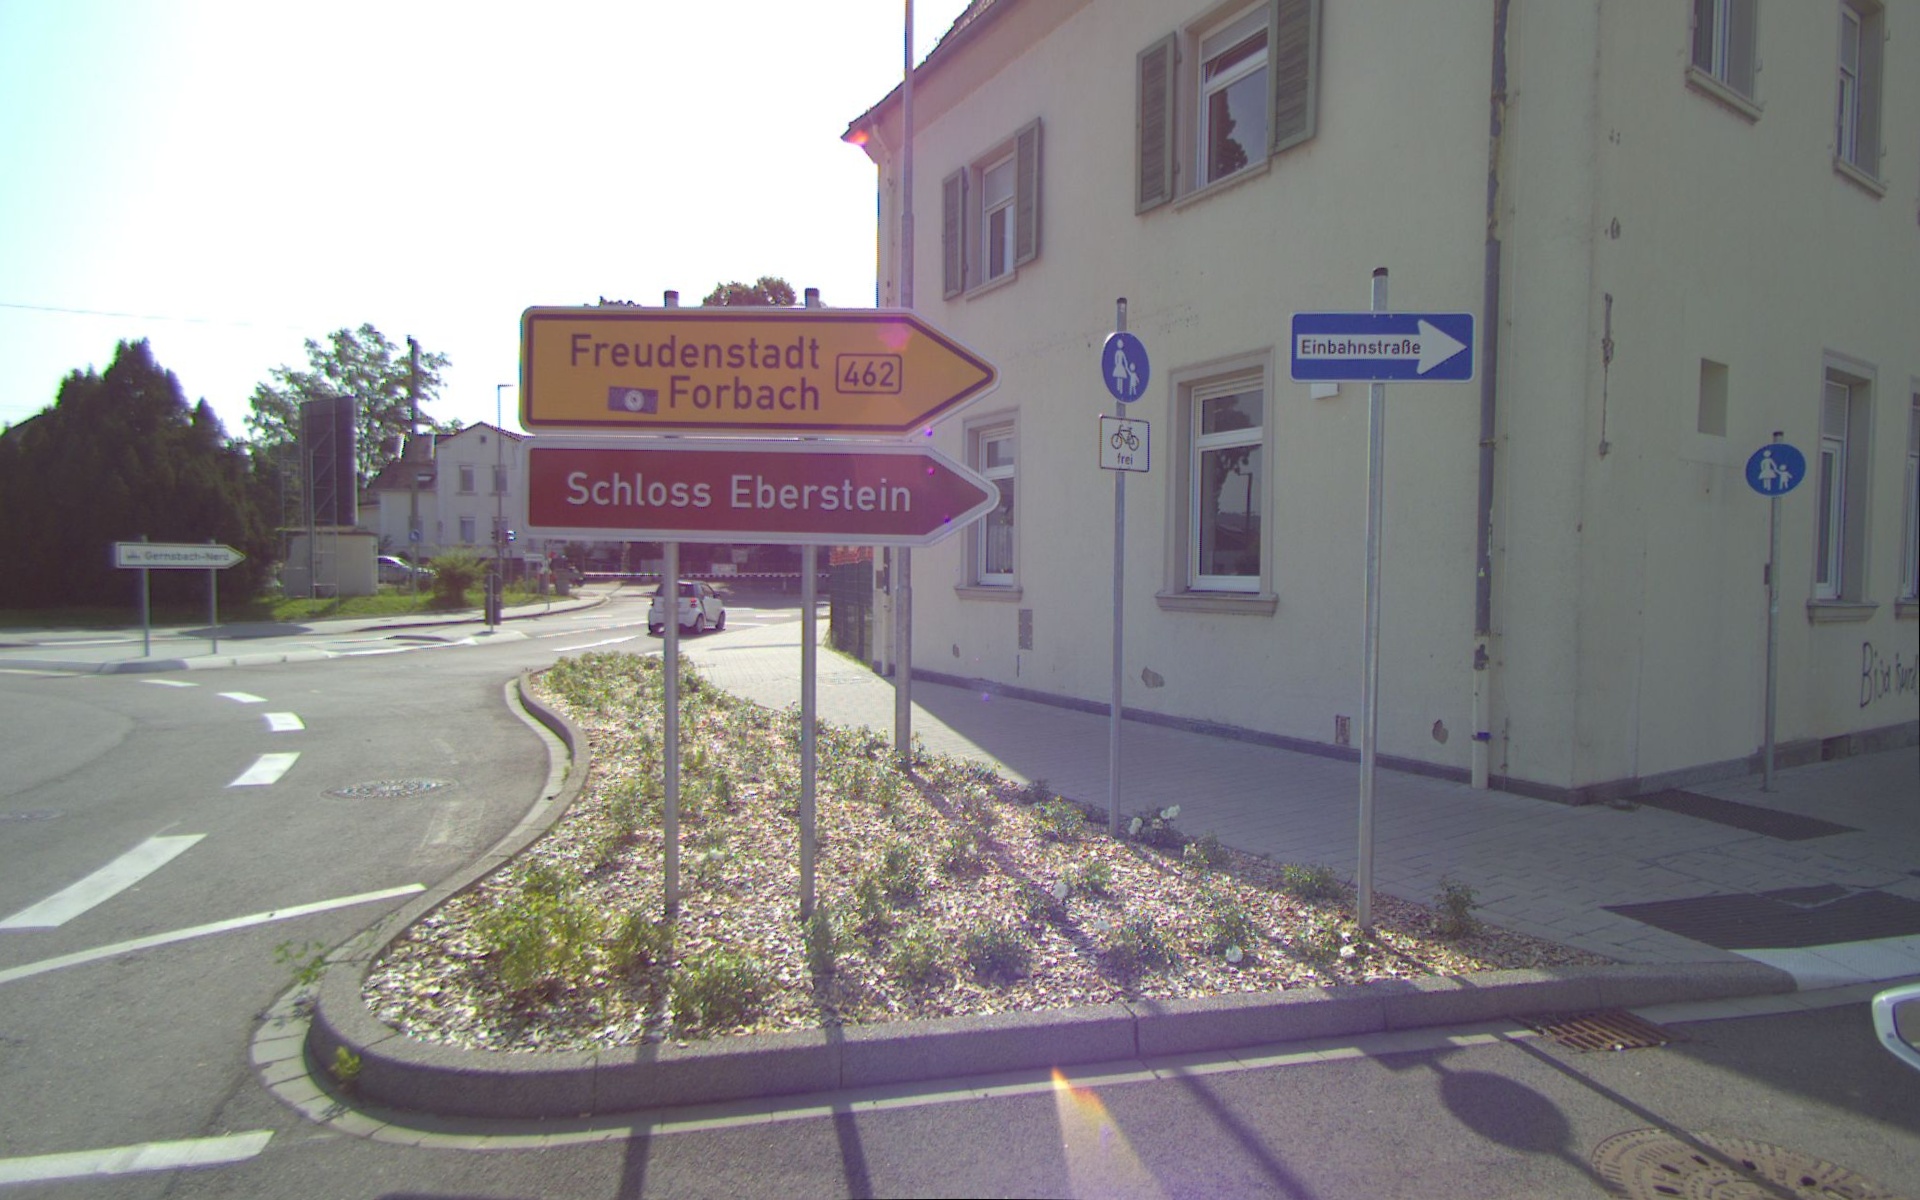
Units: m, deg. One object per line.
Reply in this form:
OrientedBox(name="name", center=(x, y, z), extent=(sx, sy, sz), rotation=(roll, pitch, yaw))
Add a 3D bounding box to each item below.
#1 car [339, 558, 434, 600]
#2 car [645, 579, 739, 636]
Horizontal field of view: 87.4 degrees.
OrientedBox(name="car", center=(-28.196, -1.067, 49.456), extent=(3.953, 1.941, 1.878), rotation=(-1, 5, -30))
OrientedBox(name="car", center=(-8.240, 0.174, 31.260), extent=(1.680, 1.417, 4.000), rotation=(1, 4, 2))
